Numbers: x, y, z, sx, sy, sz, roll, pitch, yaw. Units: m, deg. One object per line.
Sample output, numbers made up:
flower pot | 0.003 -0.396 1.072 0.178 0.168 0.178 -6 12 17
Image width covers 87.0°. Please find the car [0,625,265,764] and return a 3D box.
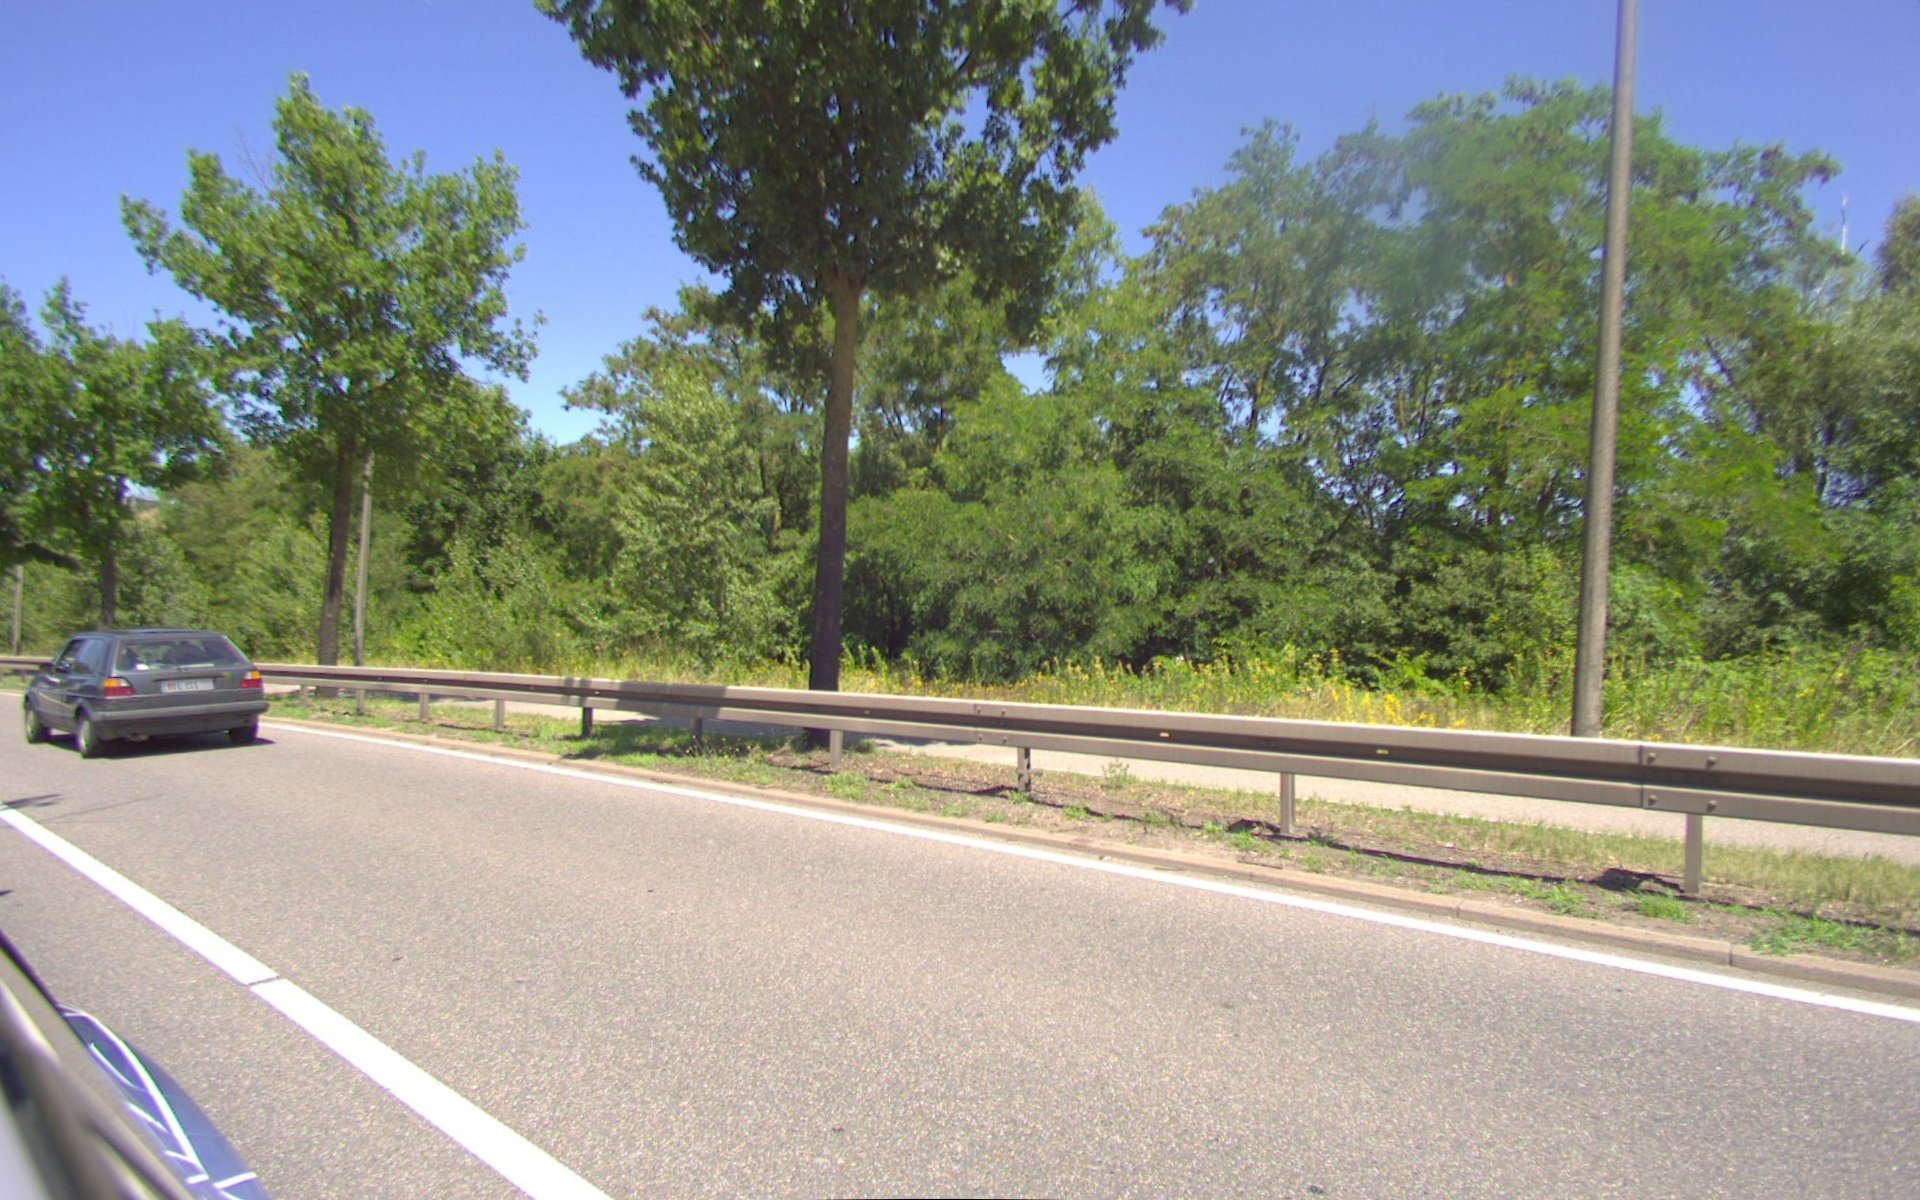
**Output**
car | -9.999 1.015 12.137 3.880 1.382 1.543 -1 -1 36
